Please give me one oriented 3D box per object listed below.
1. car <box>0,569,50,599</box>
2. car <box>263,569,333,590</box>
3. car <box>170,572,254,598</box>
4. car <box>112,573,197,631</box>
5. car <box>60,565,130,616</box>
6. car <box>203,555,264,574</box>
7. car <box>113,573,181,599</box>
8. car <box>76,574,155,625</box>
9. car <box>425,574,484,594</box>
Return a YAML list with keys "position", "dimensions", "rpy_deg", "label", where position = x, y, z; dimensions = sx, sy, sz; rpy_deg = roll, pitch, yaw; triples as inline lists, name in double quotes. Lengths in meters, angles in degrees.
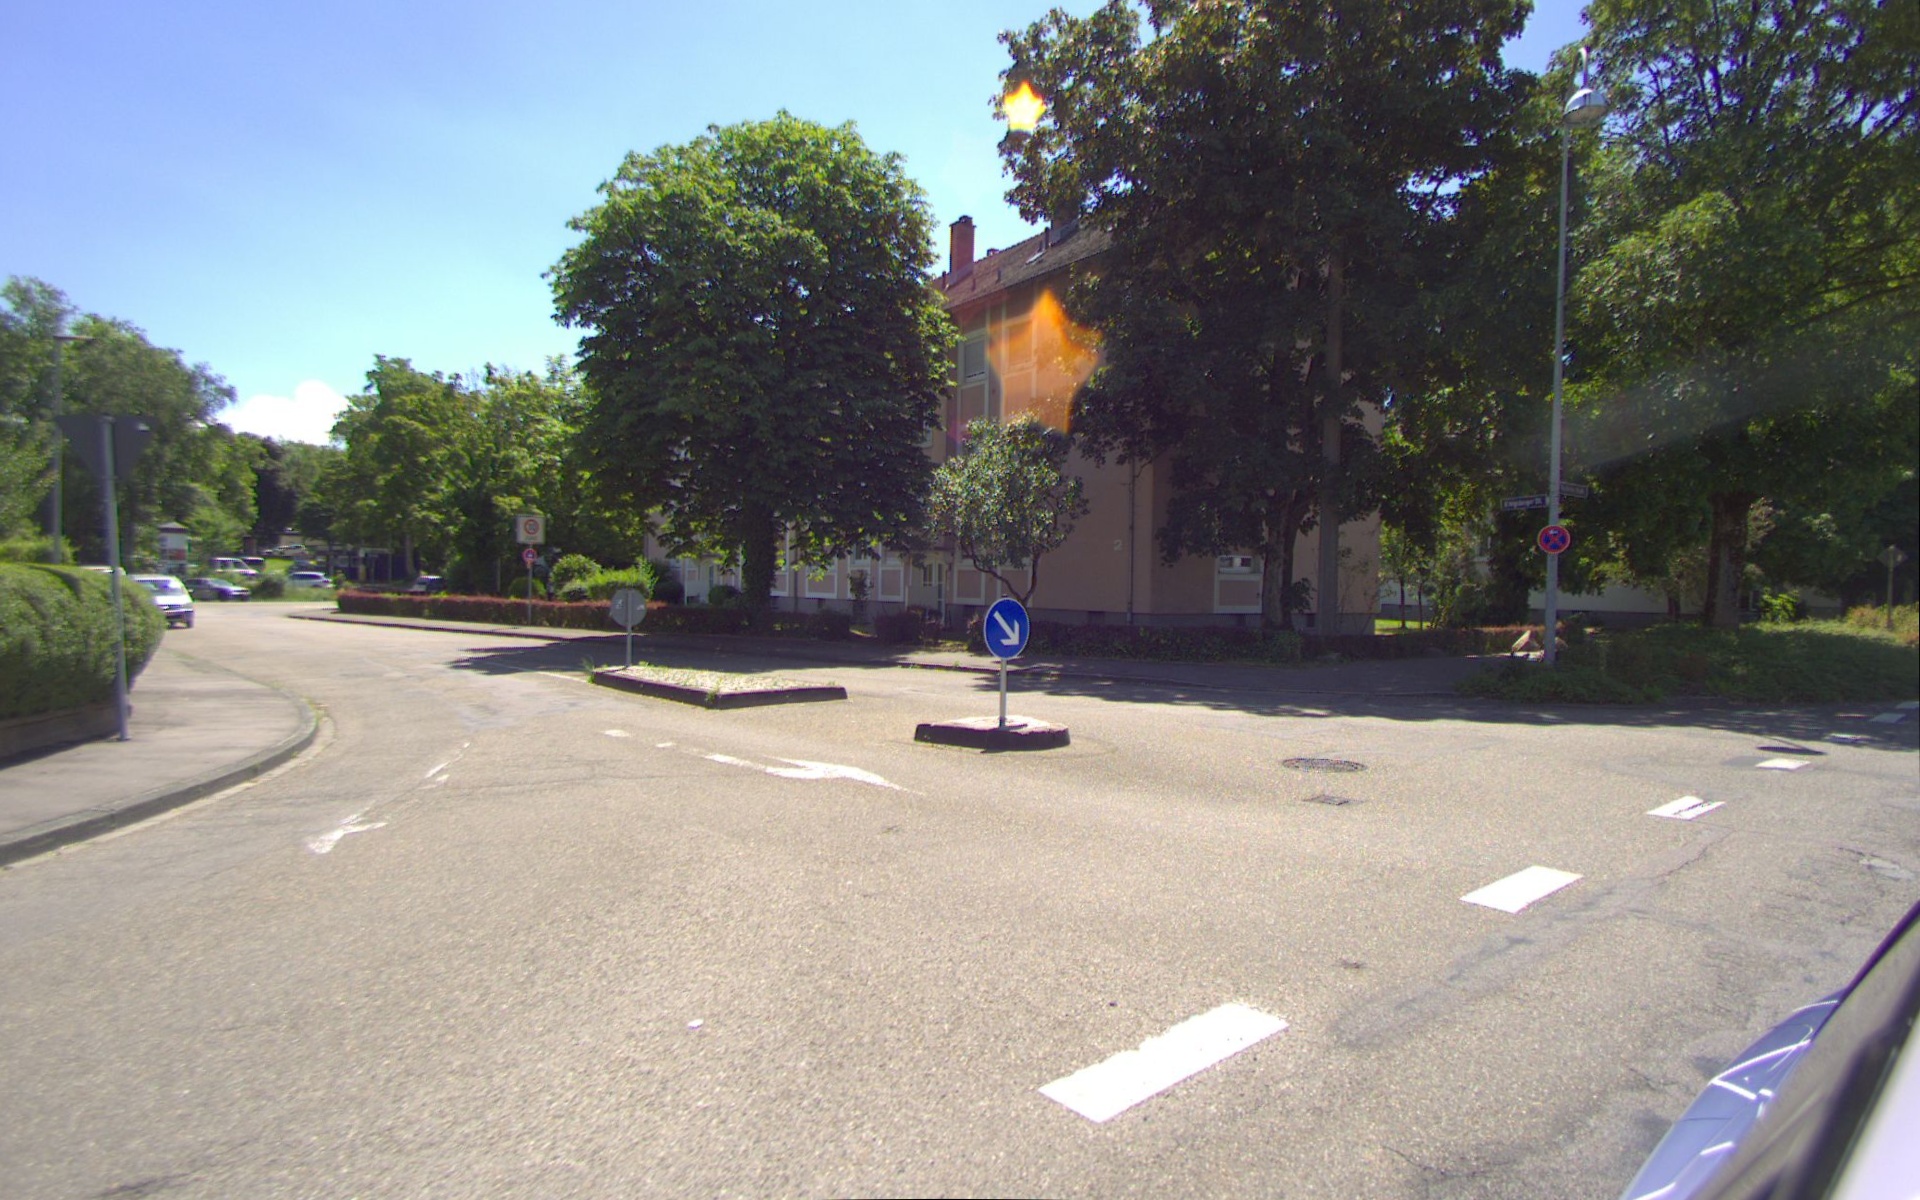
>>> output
- position: [-64.530, -1.125, 69.658]
  dimensions: [3.974, 2.039, 1.975]
  rpy_deg: [1, 1, 35]
  label: "car"
- position: [-45.966, -1.416, 70.376]
  dimensions: [3.772, 1.456, 1.713]
  rpy_deg: [0, 1, -19]
  label: "car"
- position: [-44.295, -0.876, 59.993]
  dimensions: [3.782, 1.456, 1.708]
  rpy_deg: [1, 1, 3]
  label: "car"
- position: [-25.718, -0.005, 32.287]
  dimensions: [1.682, 1.651, 3.843]
  rpy_deg: [-5, 4, -44]
  label: "car"
- position: [-32.895, -0.384, 38.452]
  dimensions: [3.841, 1.847, 1.682]
  rpy_deg: [2, 1, 44]
  label: "car"
- position: [-57.874, -2.787, 80.679]
  dimensions: [3.775, 1.456, 1.712]
  rpy_deg: [0, 2, -29]
  label: "car"
- position: [-48.951, -0.850, 60.941]
  dimensions: [3.811, 1.456, 1.695]
  rpy_deg: [1, 1, 24]
  label: "car"
- position: [-29.136, -0.063, 34.882]
  dimensions: [3.841, 1.652, 1.682]
  rpy_deg: [2, 1, 44]
  label: "car"
- position: [-37.592, -1.203, 75.298]
  dimensions: [3.777, 1.456, 1.710]
  rpy_deg: [0, 1, -32]
  label: "car"
